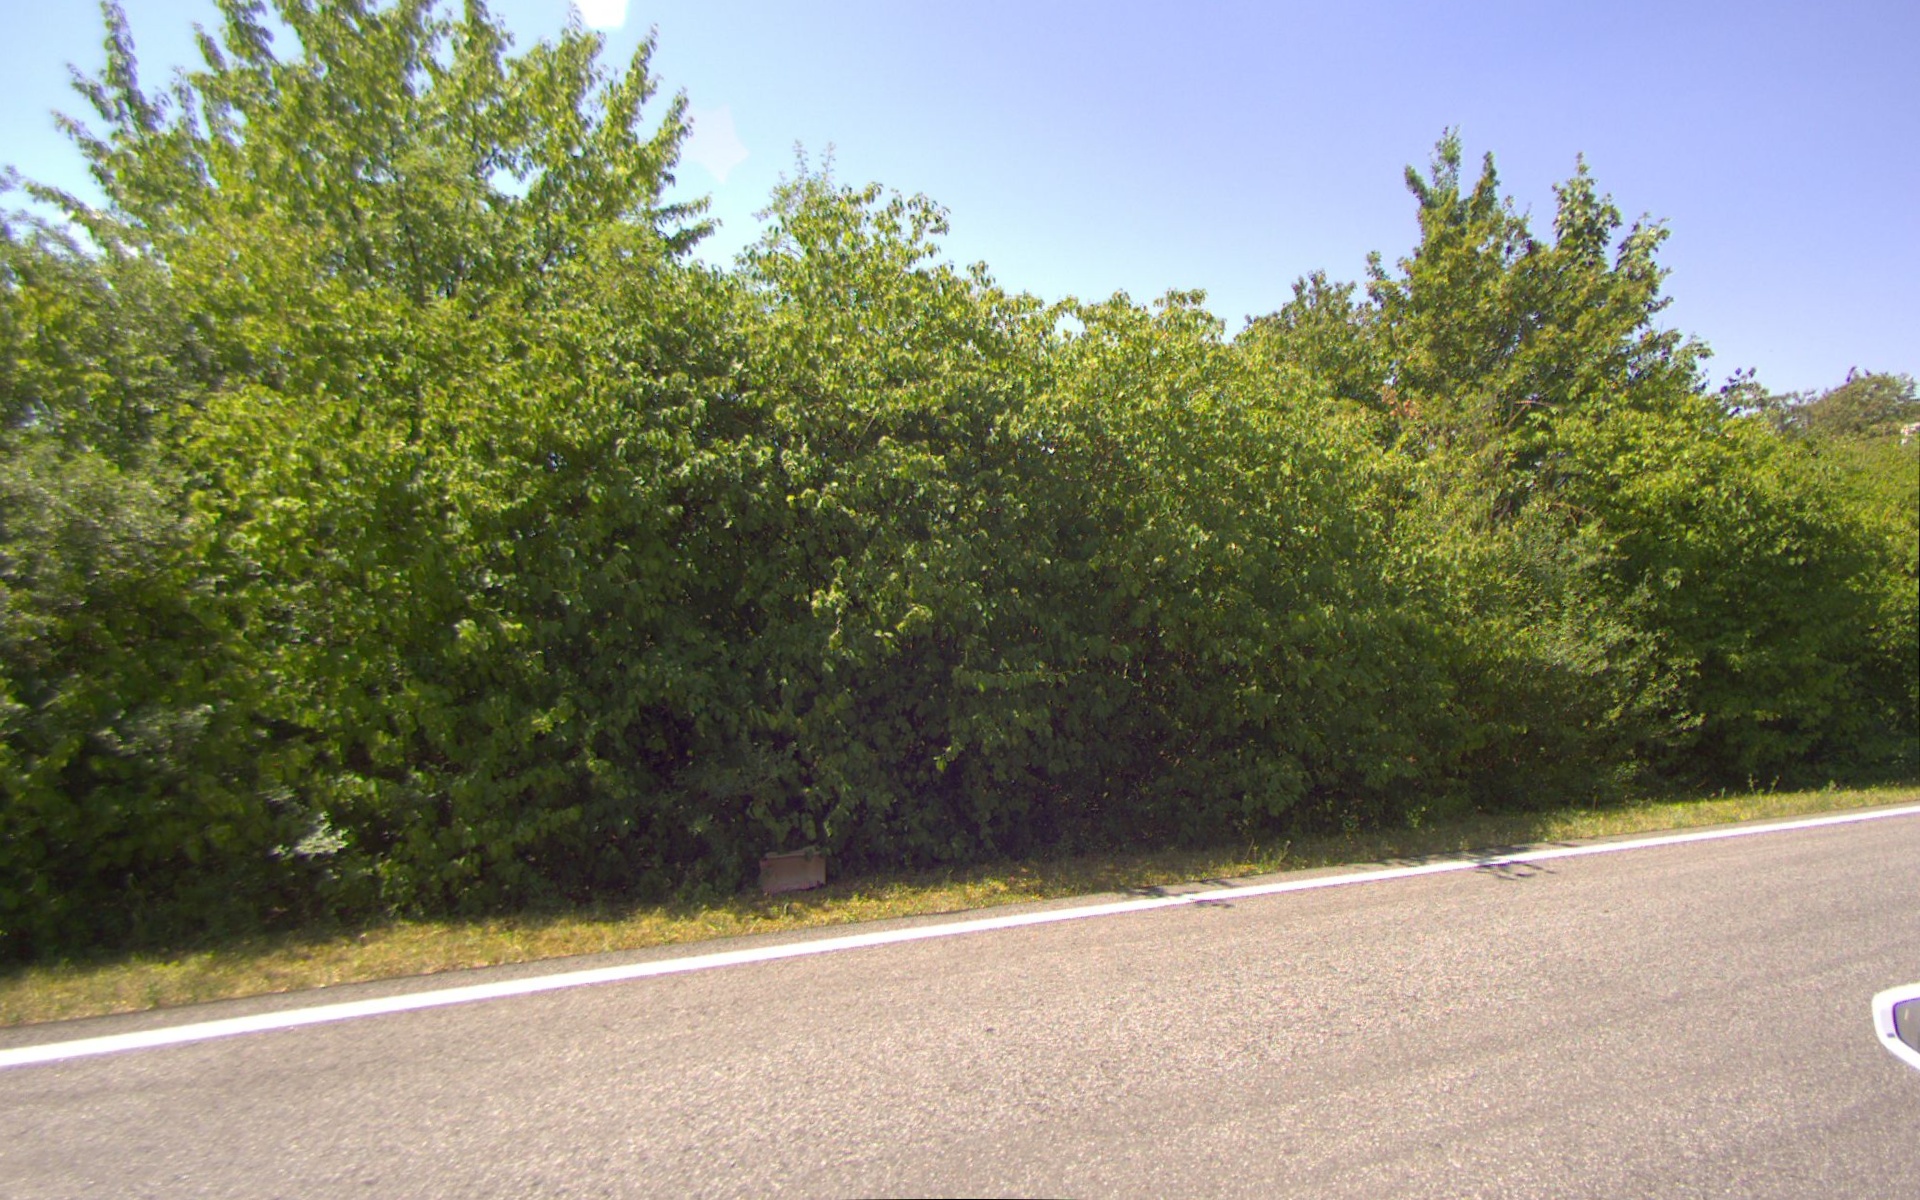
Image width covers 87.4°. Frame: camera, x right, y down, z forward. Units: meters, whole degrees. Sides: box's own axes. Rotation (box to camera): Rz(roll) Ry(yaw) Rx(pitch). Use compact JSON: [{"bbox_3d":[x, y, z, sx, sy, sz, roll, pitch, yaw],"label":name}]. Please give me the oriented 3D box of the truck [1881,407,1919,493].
[{"bbox_3d":[47.182,-6.995,46.018,8.754,3.637,3.028,-3,-1,-15],"label":"truck"}]
